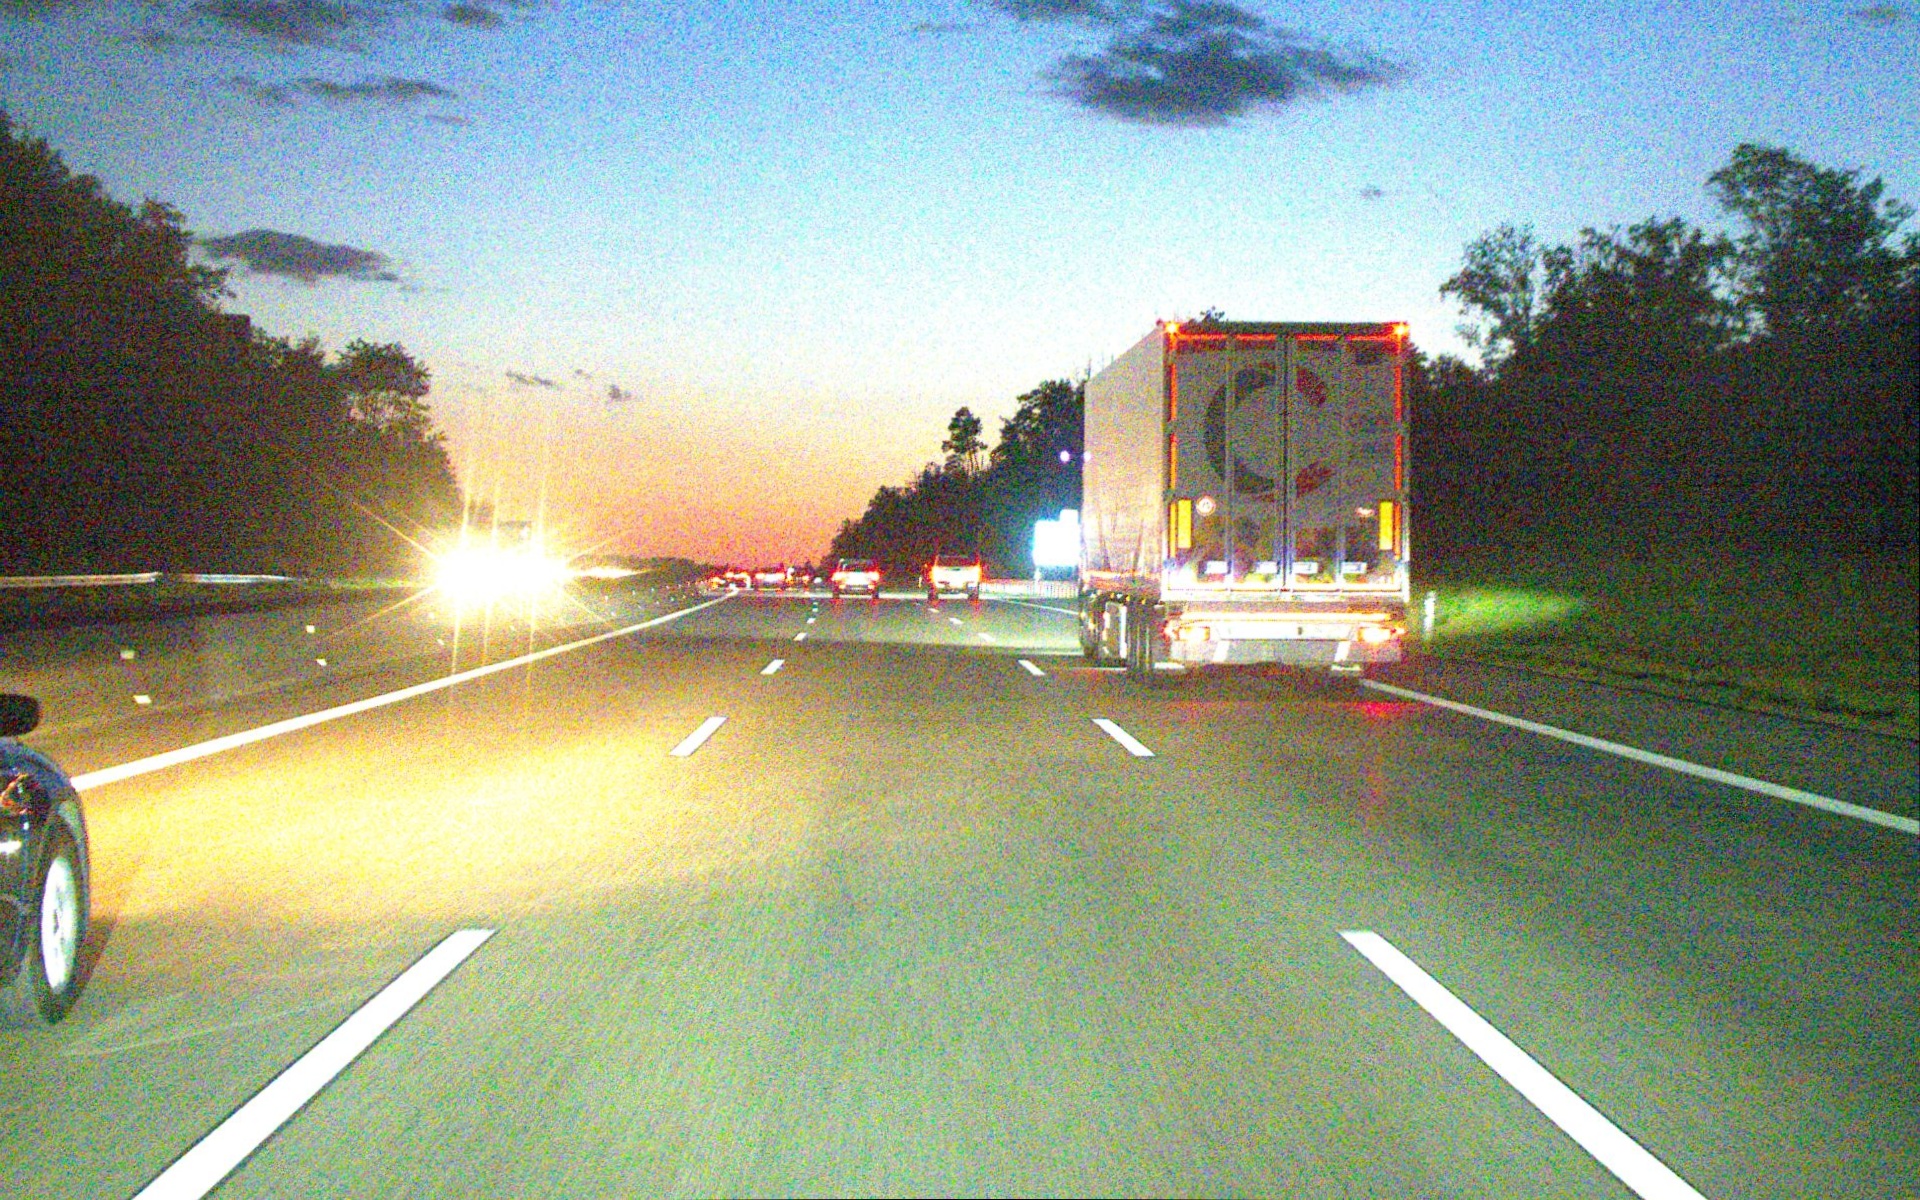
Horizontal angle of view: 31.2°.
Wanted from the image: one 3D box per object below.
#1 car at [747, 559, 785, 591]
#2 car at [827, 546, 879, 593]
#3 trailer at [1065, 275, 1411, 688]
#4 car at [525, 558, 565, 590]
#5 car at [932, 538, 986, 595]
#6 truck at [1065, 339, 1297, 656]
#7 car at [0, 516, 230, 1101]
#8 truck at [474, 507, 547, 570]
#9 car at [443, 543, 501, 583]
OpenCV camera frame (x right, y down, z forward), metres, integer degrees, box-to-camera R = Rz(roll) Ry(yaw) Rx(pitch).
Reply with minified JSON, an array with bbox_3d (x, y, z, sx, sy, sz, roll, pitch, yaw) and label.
[{"bbox_3d":[-11.282,-1.428,200.189,1.993,1.788,4.000,1,0,-1],"label":"car"},{"bbox_3d":[-4.196,-1.188,135.348,1.993,1.788,4.000,1,0,-2],"label":"car"},{"bbox_3d":[3.140,-1.352,44.148,2.829,4.242,17.050,1,1,-1],"label":"trailer"},{"bbox_3d":[-22.963,-1.432,190.313,1.745,1.656,4.000,1,-1,-1],"label":"car"},{"bbox_3d":[-0.050,-1.278,133.344,1.993,2.110,4.000,1,0,-1],"label":"car"},{"bbox_3d":[3.084,-1.432,49.544,2.829,4.242,6.263,1,1,-1],"label":"truck"},{"bbox_3d":[-3.563,0.566,9.350,1.993,1.513,5.651,1,2,-1],"label":"car"},{"bbox_3d":[-28.405,-3.882,217.616,3.312,3.795,10.986,1,1,-1],"label":"truck"},{"bbox_3d":[-21.053,-1.598,148.368,1.993,1.656,4.000,1,1,-1],"label":"car"}]
